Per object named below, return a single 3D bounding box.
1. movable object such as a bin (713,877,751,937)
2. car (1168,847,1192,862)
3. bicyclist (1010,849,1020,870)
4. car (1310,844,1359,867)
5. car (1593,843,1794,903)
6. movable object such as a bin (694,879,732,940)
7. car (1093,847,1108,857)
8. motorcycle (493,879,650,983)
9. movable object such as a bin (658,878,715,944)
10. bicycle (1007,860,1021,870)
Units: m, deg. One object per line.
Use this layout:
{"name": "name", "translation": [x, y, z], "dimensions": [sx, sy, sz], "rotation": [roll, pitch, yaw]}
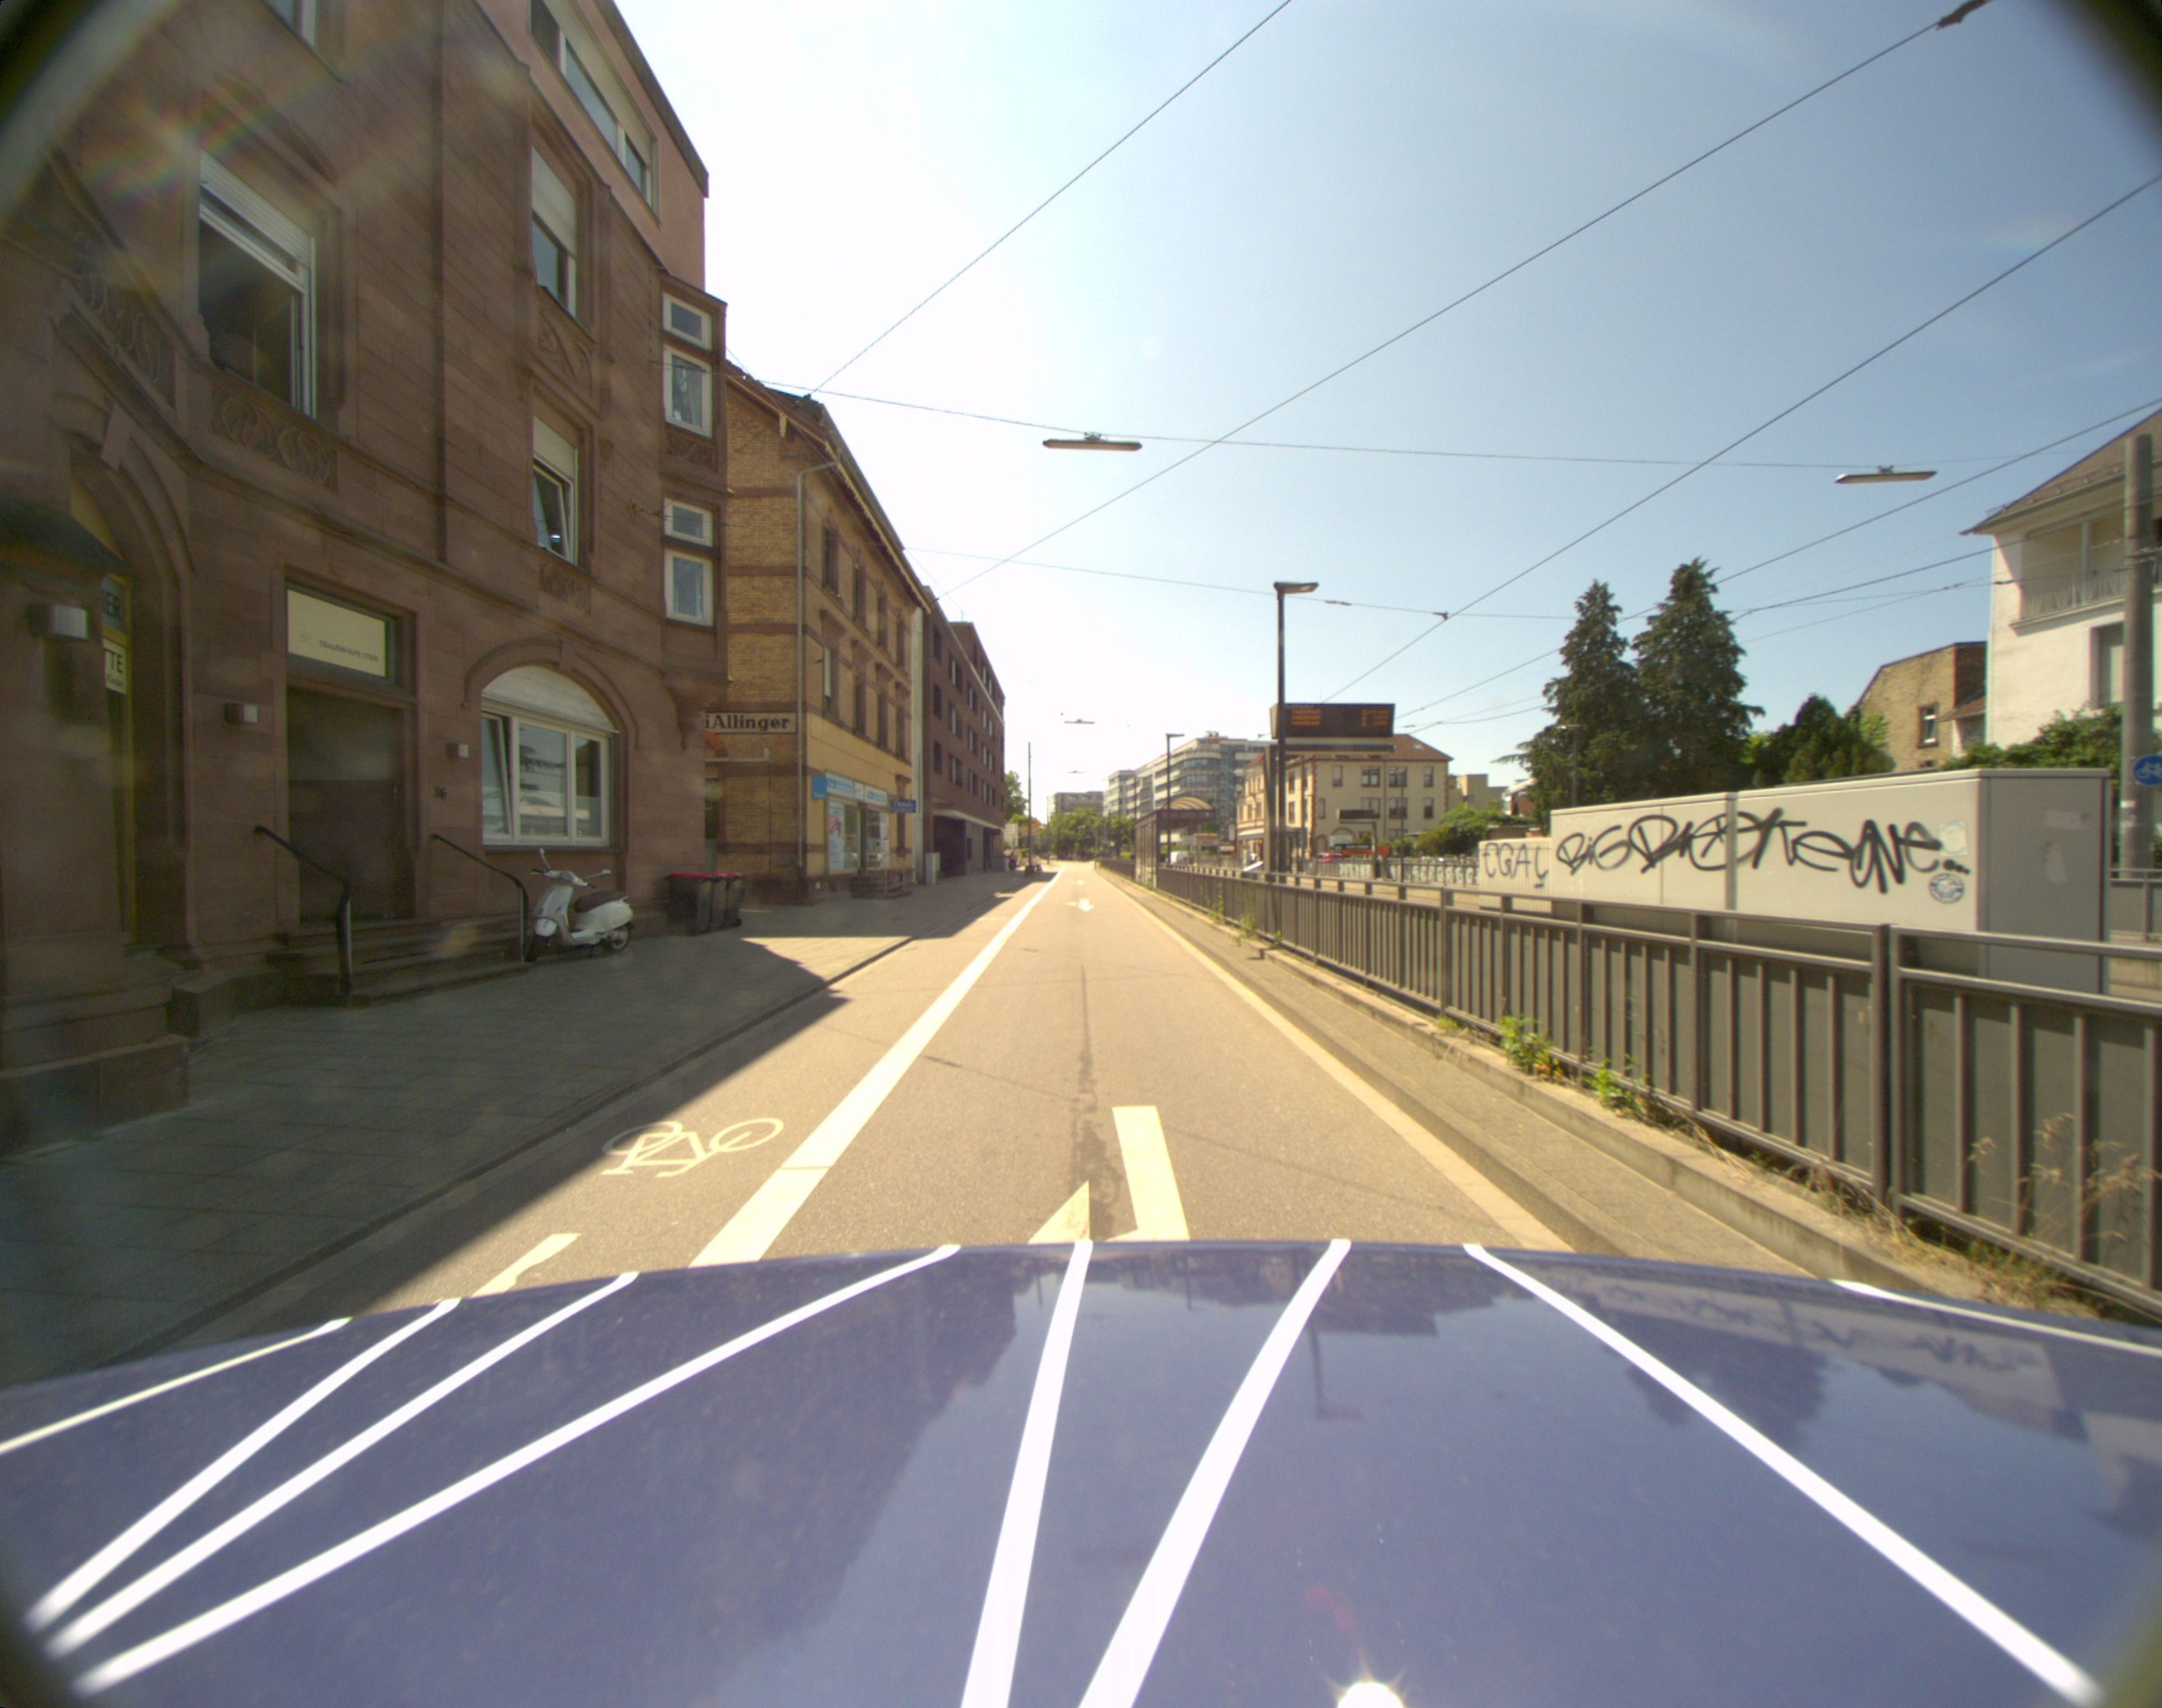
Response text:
{"name": "movable object such as a bin", "translation": [-6.466, 0.972, 14.104], "dimensions": [0.376, 1.042, 0.657], "rotation": [2, 1, 0]}
{"name": "car", "translation": [12.399, -0.006, 95.431], "dimensions": [1.862, 1.806, 4.694], "rotation": [0, 0, -9]}
{"name": "bicyclist", "translation": [-5.442, 0.434, 62.459], "dimensions": [0.671, 1.712, 0.929], "rotation": [0, 1, 6]}
{"name": "car", "translation": [16.482, 0.076, 49.683], "dimensions": [1.822, 1.387, 4.175], "rotation": [-1, 0, 0]}
{"name": "car", "translation": [16.241, 0.453, 20.524], "dimensions": [1.861, 1.433, 4.478], "rotation": [-1, 0, 1]}
{"name": "movable object such as a bin", "translation": [-6.518, 0.972, 13.455], "dimensions": [0.376, 1.042, 0.559], "rotation": [2, 1, 0]}
{"name": "car", "translation": [3.624, -0.445, 142.205], "dimensions": [2.000, 1.827, 3.996], "rotation": [-1, 0, -10]}
{"name": "motorcycle", "translation": [-6.433, 0.922, 9.741], "dimensions": [0.527, 1.142, 1.881], "rotation": [0, 0, 8]}
{"name": "movable object such as a bin", "translation": [-6.678, 0.957, 12.878], "dimensions": [0.649, 1.042, 0.559], "rotation": [2, 1, -1]}
{"name": "bicycle", "translation": [-5.478, 0.899, 62.219], "dimensions": [0.689, 0.793, 1.909], "rotation": [0, 0, 8]}
